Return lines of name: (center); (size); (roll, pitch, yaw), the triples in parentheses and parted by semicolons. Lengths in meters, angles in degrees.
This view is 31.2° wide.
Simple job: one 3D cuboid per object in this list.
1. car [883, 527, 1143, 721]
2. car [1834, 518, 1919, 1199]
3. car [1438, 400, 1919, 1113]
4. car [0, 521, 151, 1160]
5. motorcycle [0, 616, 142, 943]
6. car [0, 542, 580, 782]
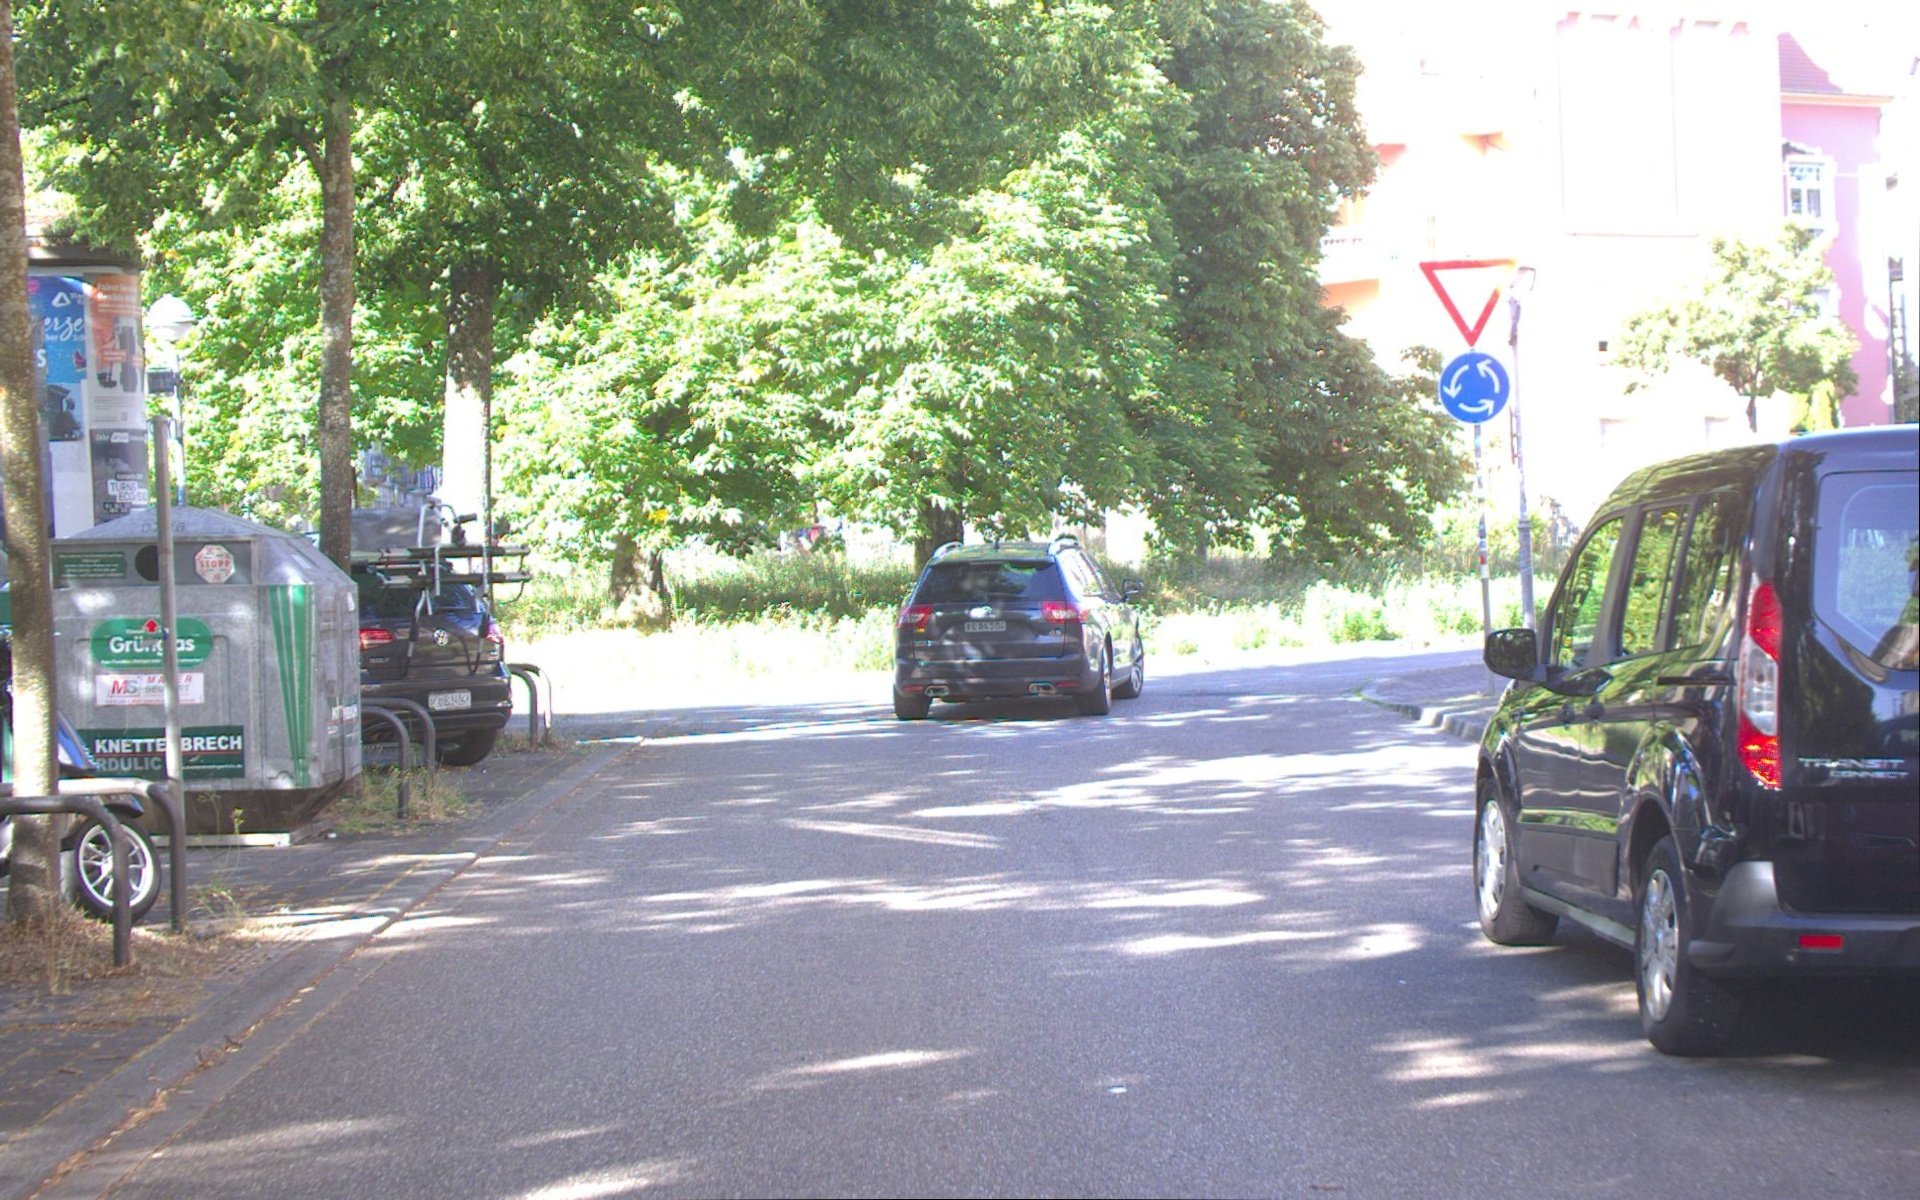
car: (0.532, 0.154, 30.001); (1.715, 1.478, 4.143); (-2, 1, 8)
car: (2.934, 0.641, 6.054); (1.645, 1.532, 4.000); (2, 1, -1)
car: (2.822, 0.388, 11.202); (1.801, 1.864, 4.273); (2, 1, -1)
car: (-4.220, 0.588, 9.329); (4.150, 1.549, 1.829); (0, 1, 41)
motorcycle: (-4.098, 0.686, 12.785); (1.939, 1.167, 0.518); (-2, 1, 0)
car: (-4.656, 0.391, 23.172); (4.138, 1.476, 1.772); (-1, 0, 40)
